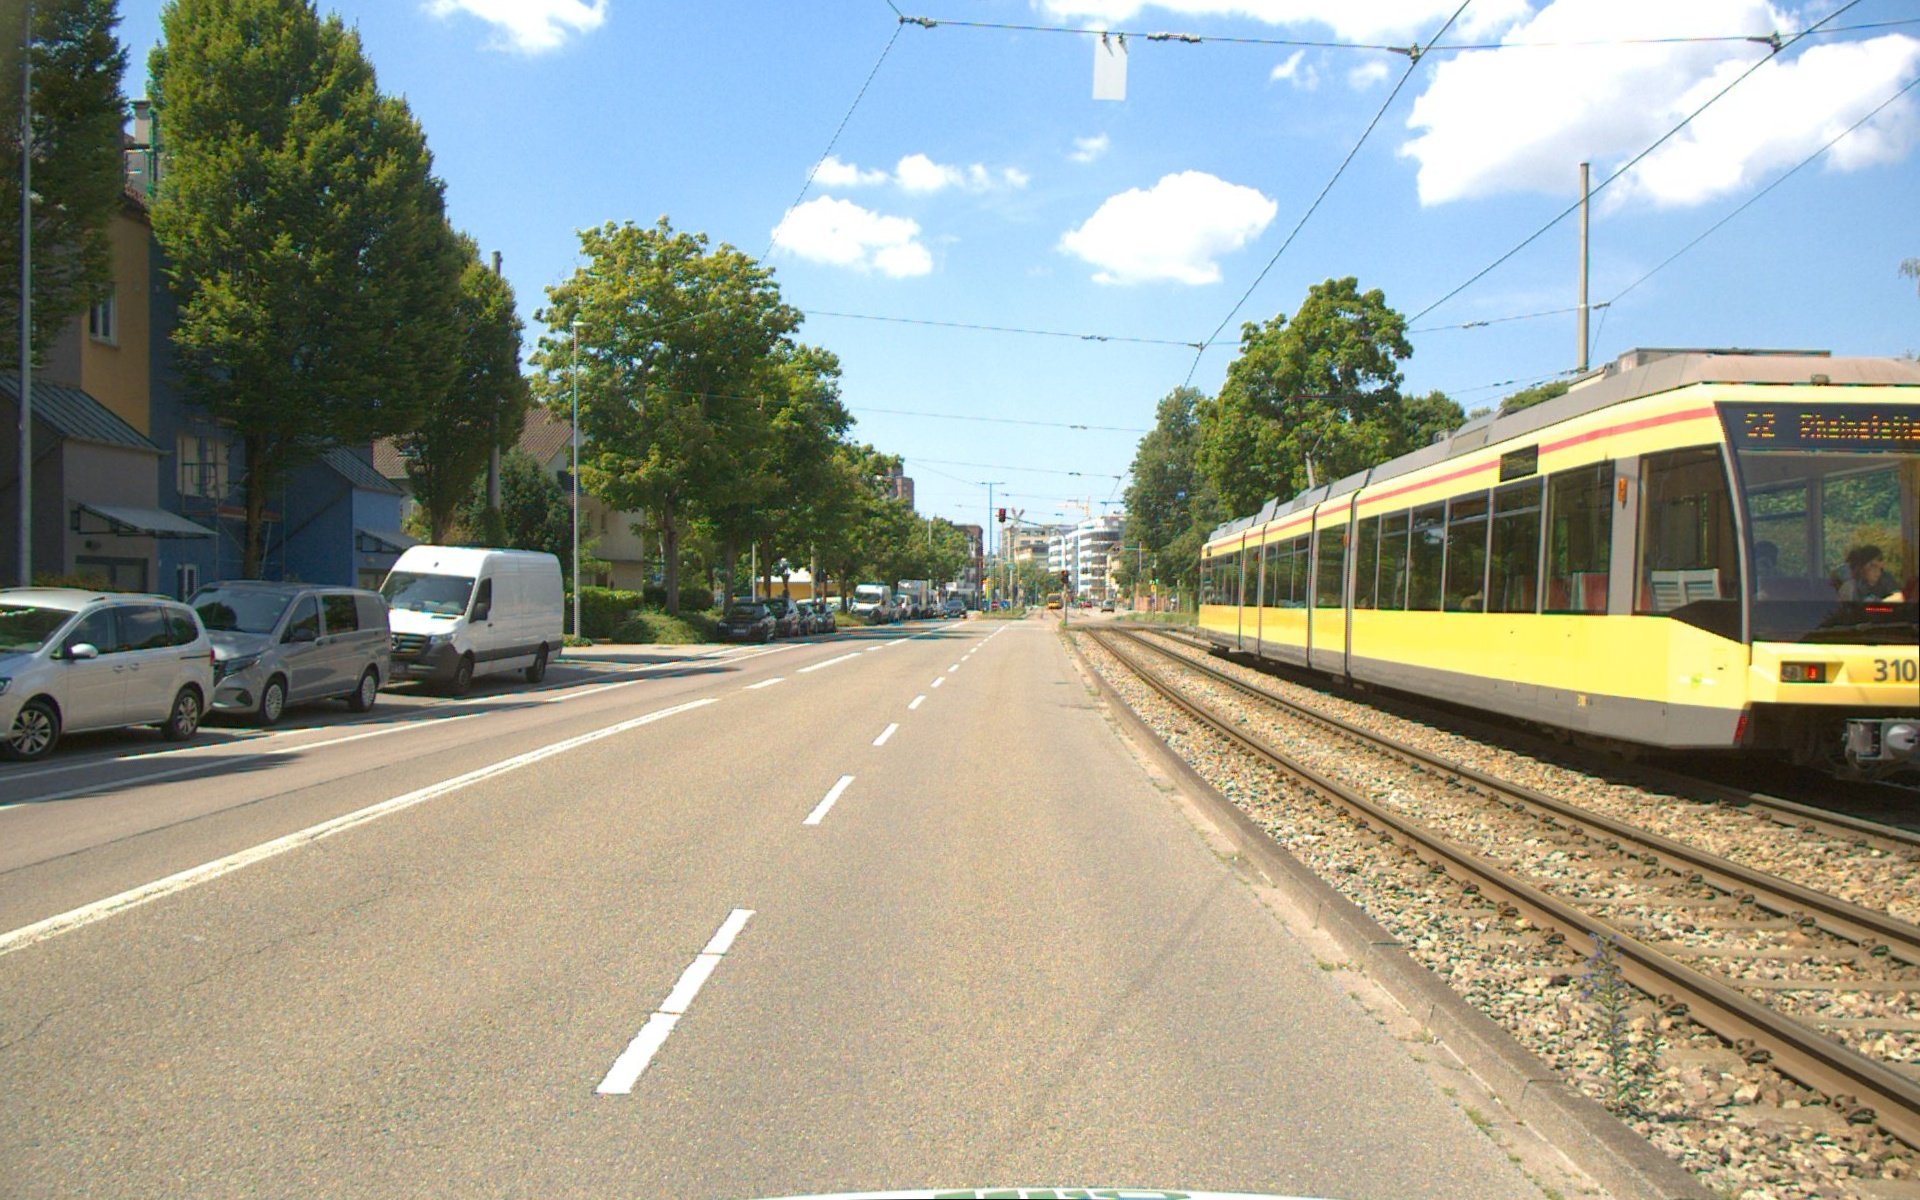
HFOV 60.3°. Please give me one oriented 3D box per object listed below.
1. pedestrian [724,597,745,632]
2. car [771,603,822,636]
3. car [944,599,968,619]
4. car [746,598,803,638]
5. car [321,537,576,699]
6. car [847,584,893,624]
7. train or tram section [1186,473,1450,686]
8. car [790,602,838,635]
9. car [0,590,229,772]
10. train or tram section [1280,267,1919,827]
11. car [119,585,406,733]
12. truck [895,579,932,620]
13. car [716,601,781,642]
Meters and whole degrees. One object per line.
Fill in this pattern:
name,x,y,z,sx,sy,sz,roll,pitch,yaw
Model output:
pedestrian,-11.948,0.767,87.630,0.954,1.855,0.794,0,0,0
car,-7.523,0.885,76.372,1.738,1.397,4.698,2,0,1
car,-0.279,0.719,130.012,1.738,1.485,4.196,-1,0,1
car,-7.899,0.737,70.785,1.738,1.632,4.638,1,0,1
car,-9.815,0.307,32.610,2.275,2.697,7.038,4,0,4
car,-5.980,0.253,110.813,2.111,2.530,6.196,1,0,5
train or tram section,7.771,-0.381,39.647,2.882,3.756,20.291,1,0,3
car,-7.125,0.869,80.934,1.738,1.506,4.049,2,0,3
car,-10.166,0.794,18.479,1.681,1.783,4.905,0,0,2
train or tram section,6.881,-0.361,20.327,2.882,3.756,18.393,1,0,2
car,-10.015,0.757,24.301,1.769,1.928,5.364,0,0,2
truck,-3.888,-0.050,138.898,2.111,3.266,7.086,3,0,5
car,-8.039,0.797,63.179,1.738,1.481,4.805,0,0,1
